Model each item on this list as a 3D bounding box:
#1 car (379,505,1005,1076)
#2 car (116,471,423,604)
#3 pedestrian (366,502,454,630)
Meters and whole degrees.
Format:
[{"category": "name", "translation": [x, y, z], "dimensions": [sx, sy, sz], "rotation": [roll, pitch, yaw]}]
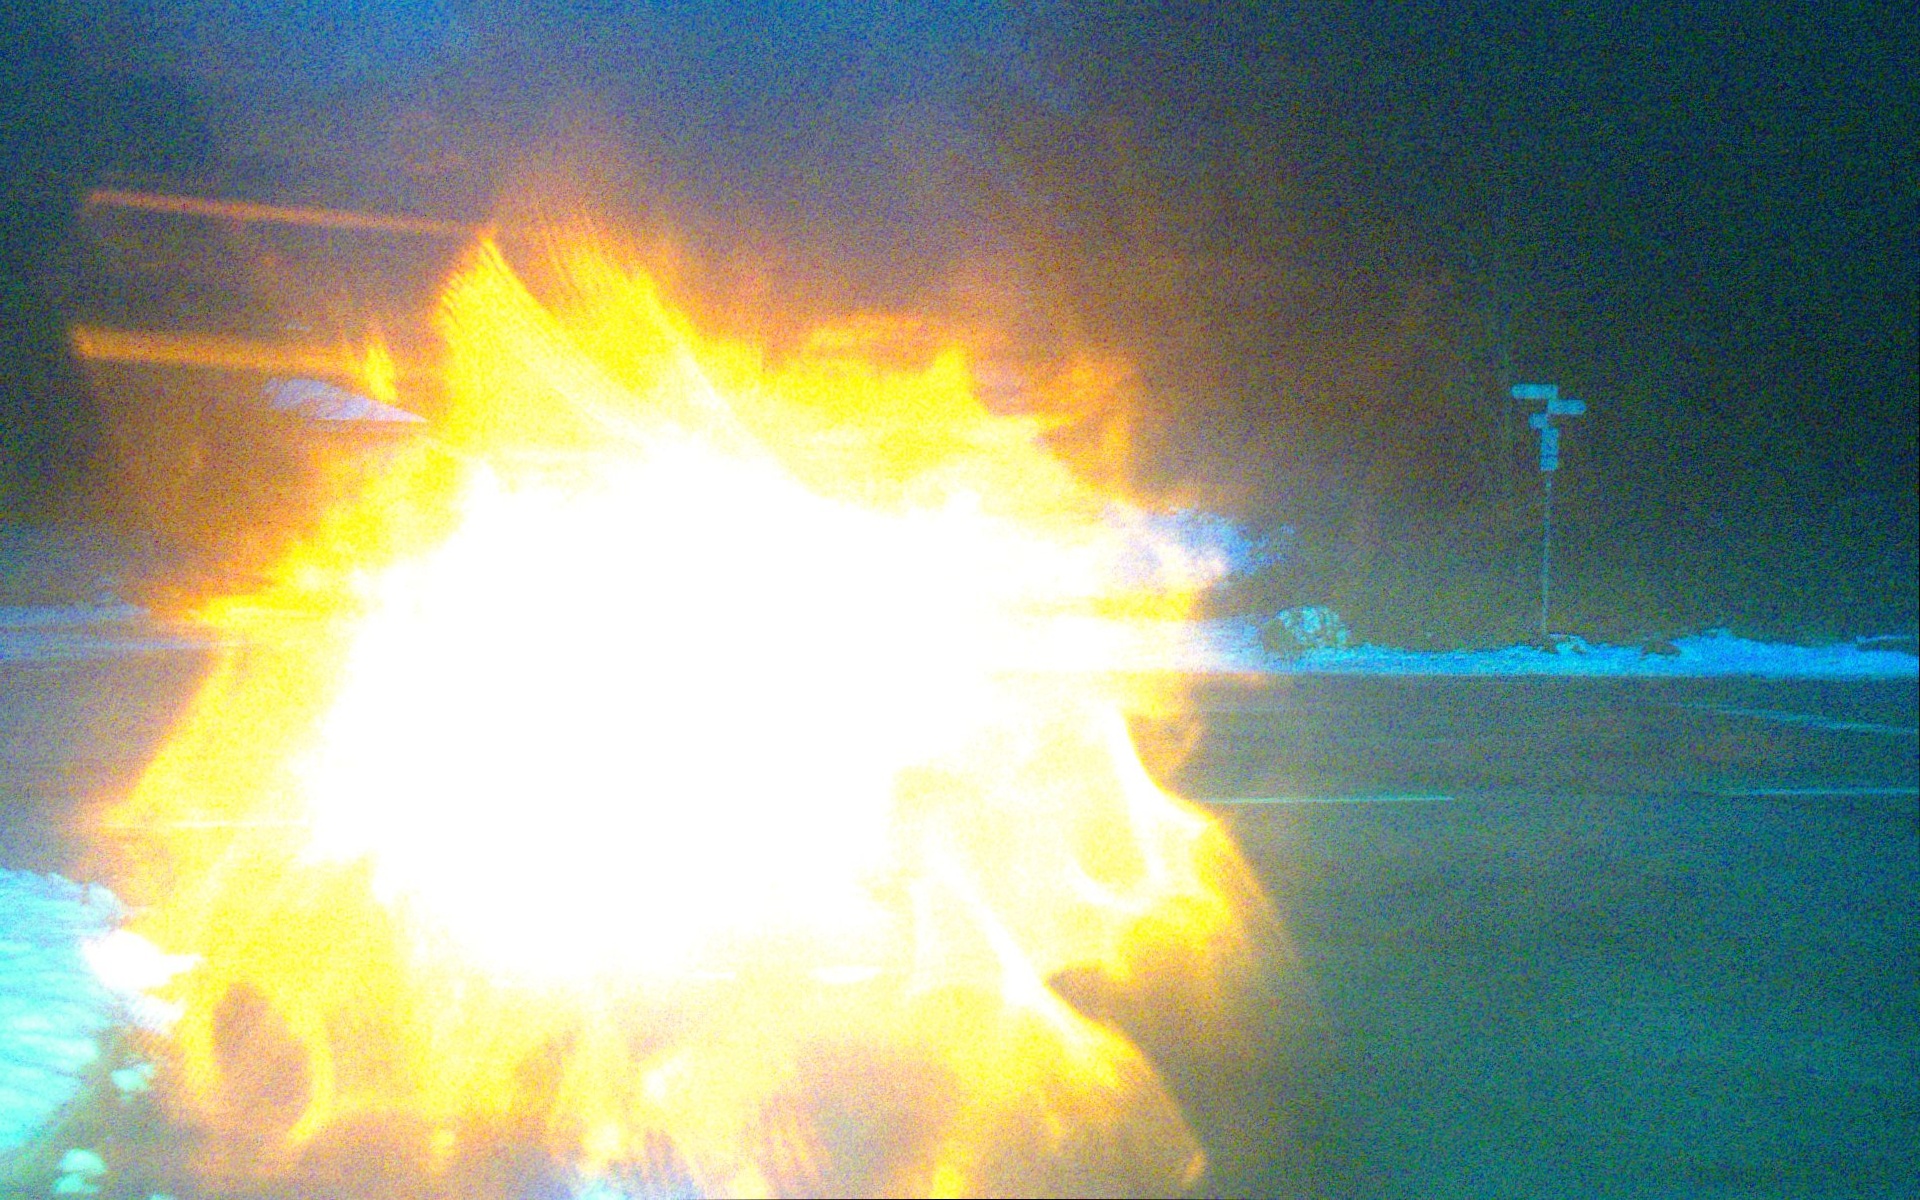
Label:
[{"category": "car", "translation": [-0.759, 0.478, 11.322], "dimensions": [1.692, 1.547, 3.856], "rotation": [1, 1, -1]}, {"category": "car", "translation": [-10.043, -0.906, 50.186], "dimensions": [3.948, 1.875, 1.999], "rotation": [1, 0, 8]}, {"category": "pedestrian", "translation": [-7.921, -0.488, 49.552], "dimensions": [0.961, 1.821, 0.924], "rotation": [1, 0, 12]}]
